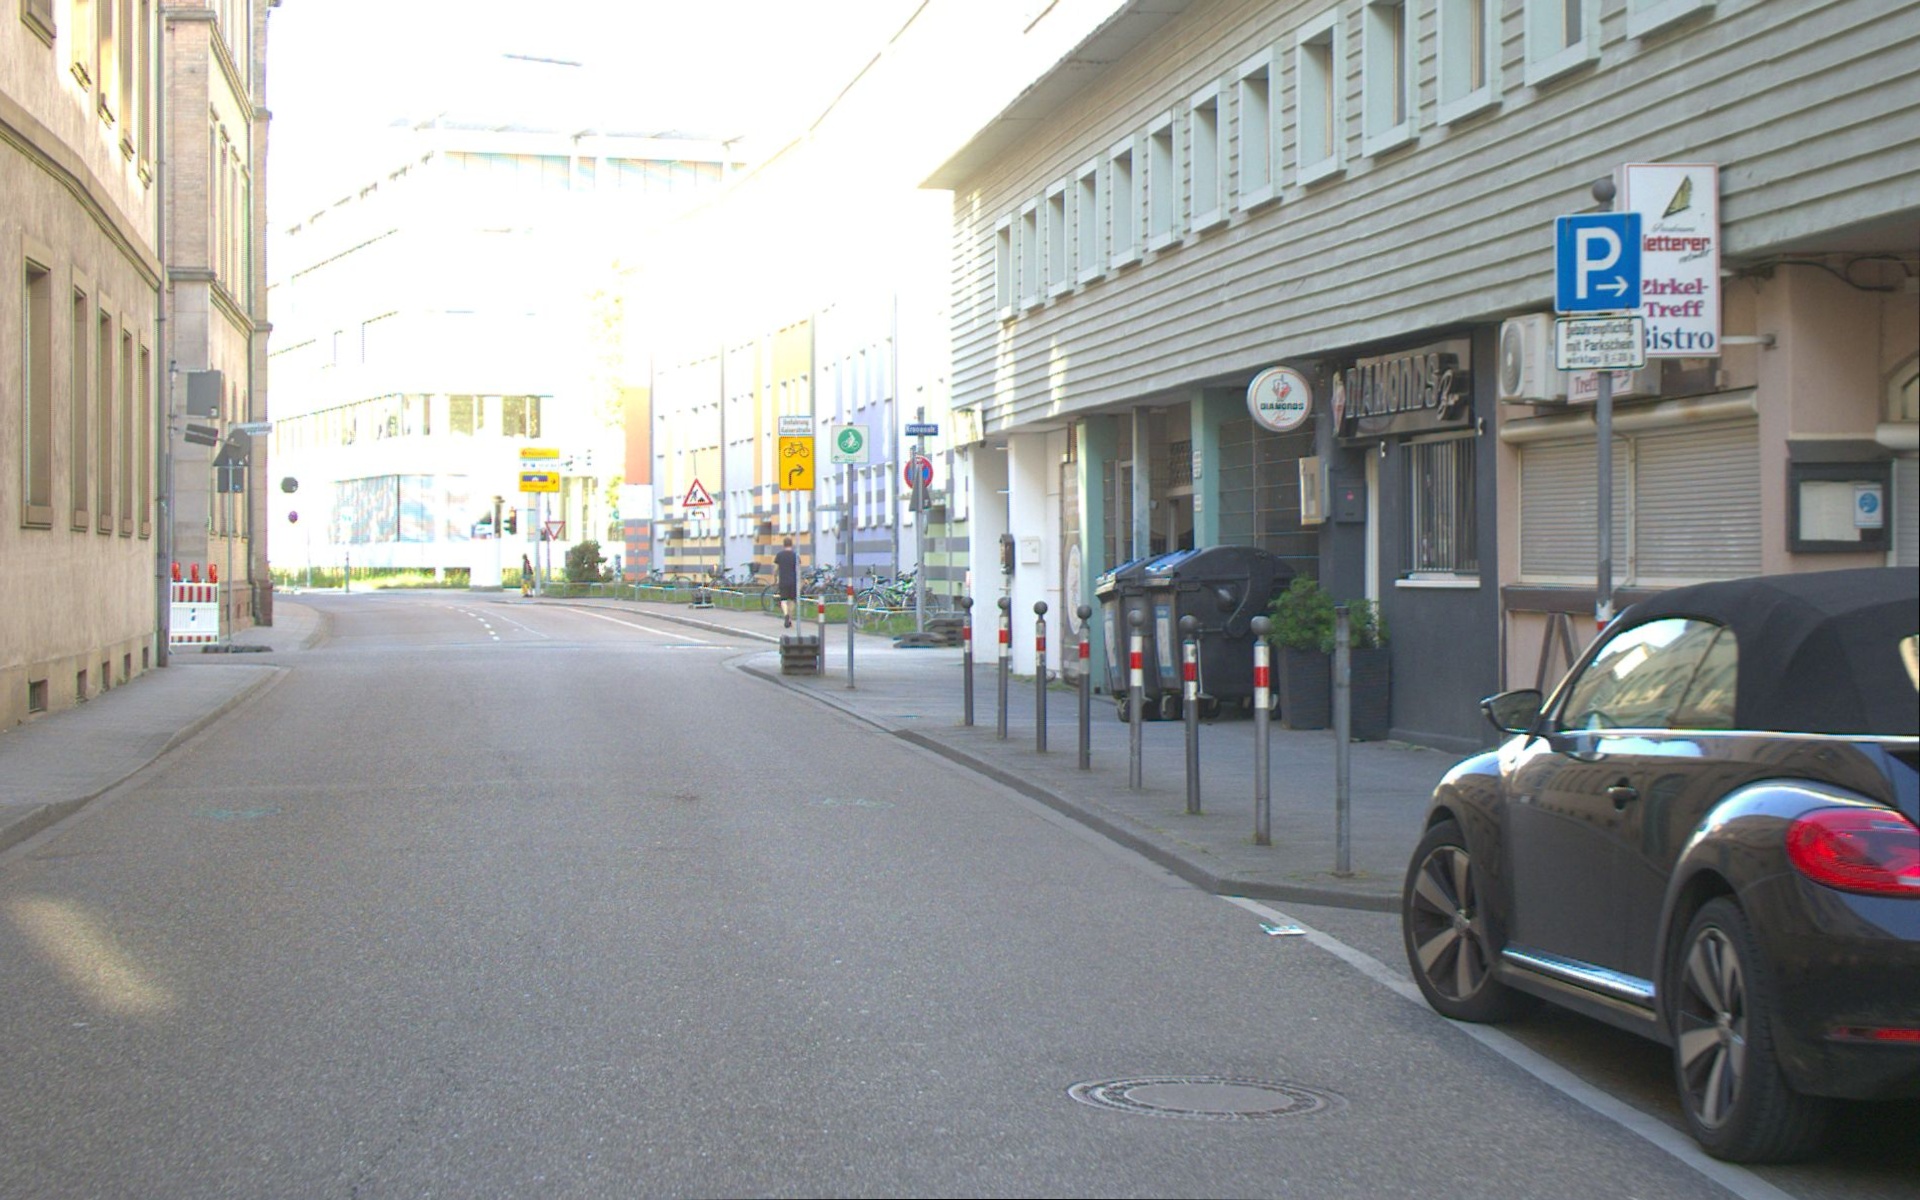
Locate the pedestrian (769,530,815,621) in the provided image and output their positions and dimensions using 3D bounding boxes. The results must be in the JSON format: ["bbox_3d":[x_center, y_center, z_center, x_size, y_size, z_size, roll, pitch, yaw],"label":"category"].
[{"bbox_3d":[-3.323,-0.482,67.964,0.696,1.754,1.189,-3,1,-10],"label":"pedestrian"}]

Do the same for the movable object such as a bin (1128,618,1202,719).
[{"bbox_3d":[1.859,0.620,31.267,0.556,0.896,0.523,-1,-1,-7],"label":"movable object such as a bin"}]

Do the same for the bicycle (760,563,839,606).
[{"bbox_3d":[-3.689,-0.353,78.966,1.748,0.943,0.552,-1,0,-10],"label":"bicycle"}]

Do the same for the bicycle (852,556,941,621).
[{"bbox_3d":[-1.219,-0.223,65.893,1.640,1.137,0.283,-3,2,-18],"label":"bicycle"}]

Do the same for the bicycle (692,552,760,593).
[{"bbox_3d":[-6.449,-0.762,94.684,1.810,1.133,0.552,0,0,-11],"label":"bicycle"}]

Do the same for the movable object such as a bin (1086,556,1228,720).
[{"bbox_3d":[1.724,0.340,30.238,0.981,1.380,1.321,-1,-1,-7],"label":"movable object such as a bin"}]

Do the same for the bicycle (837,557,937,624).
[{"bbox_3d":[-1.375,-0.180,64.435,1.748,1.137,0.552,-3,2,-10],"label":"bicycle"}]

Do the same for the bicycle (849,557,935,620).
[{"bbox_3d":[-1.305,-0.224,66.156,1.602,1.137,0.237,-3,2,-18],"label":"bicycle"}]

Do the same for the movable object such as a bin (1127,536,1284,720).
[{"bbox_3d":[2.037,0.244,28.730,0.981,1.475,1.551,-1,-1,-7],"label":"movable object such as a bin"}]

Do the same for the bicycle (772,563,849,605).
[{"bbox_3d":[-3.486,-0.373,80.015,1.748,0.943,0.326,-1,0,-9],"label":"bicycle"}]

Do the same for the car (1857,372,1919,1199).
[{"bbox_3d":[2.958,0.552,4.554,1.883,1.875,4.846,1,1,-5],"label":"car"}]

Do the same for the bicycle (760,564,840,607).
[{"bbox_3d":[-3.633,-0.326,78.189,1.748,0.943,0.552,-1,0,-10],"label":"bicycle"}]

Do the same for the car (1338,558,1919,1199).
[{"bbox_3d":[2.531,0.652,9.889,1.883,1.484,4.369,1,1,-7],"label":"car"}]

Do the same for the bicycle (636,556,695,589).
[{"bbox_3d":[-9.303,-0.870,108.584,1.753,1.000,0.613,-2,0,-14],"label":"bicycle"}]
